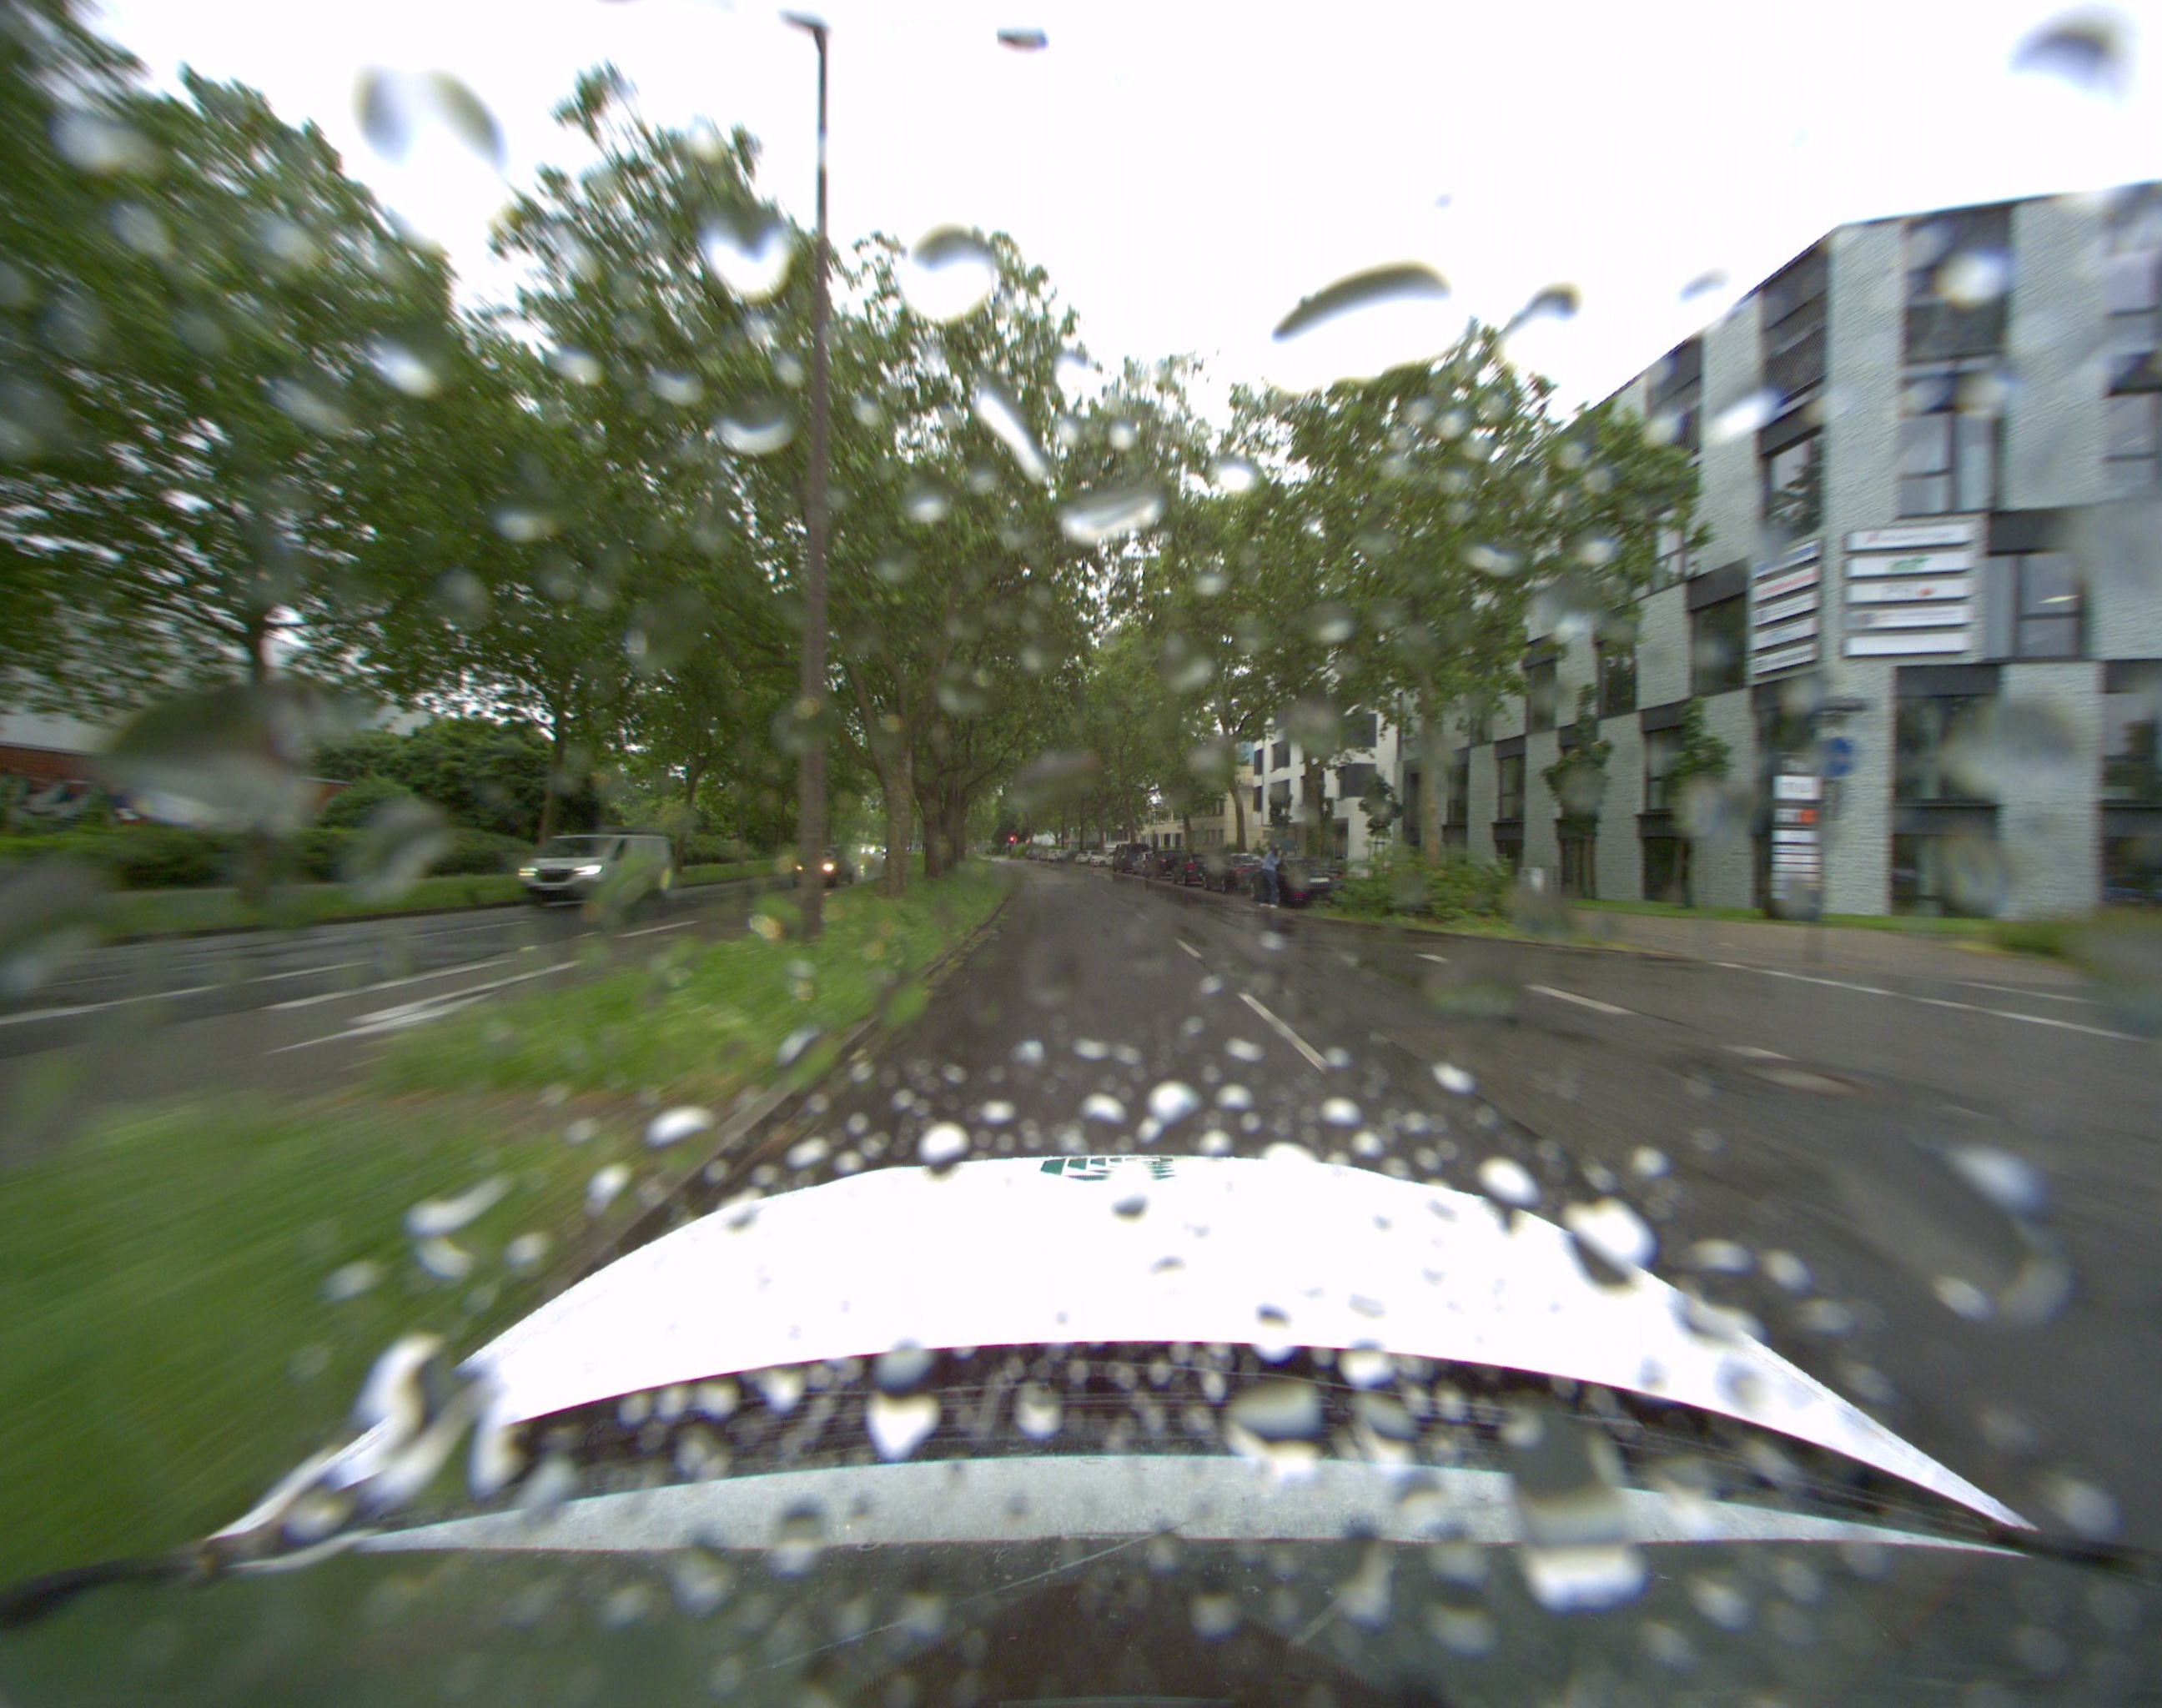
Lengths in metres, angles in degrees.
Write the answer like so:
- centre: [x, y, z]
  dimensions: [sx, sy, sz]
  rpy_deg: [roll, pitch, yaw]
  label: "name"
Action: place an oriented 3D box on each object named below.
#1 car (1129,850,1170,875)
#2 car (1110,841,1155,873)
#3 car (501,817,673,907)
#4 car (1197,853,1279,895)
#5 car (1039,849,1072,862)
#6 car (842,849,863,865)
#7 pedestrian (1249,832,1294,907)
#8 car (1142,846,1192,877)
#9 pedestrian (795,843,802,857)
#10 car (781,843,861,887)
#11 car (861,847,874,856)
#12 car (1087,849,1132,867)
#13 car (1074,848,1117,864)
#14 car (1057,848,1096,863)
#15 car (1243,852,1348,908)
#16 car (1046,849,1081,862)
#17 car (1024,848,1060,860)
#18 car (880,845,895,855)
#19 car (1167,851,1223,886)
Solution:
- centre: [4.195, 0.489, 50.371]
  dimensions: [1.741, 1.469, 4.297]
  rpy_deg: [1, 0, -6]
  label: "car"
- centre: [3.459, 0.172, 55.653]
  dimensions: [2.119, 2.028, 5.516]
  rpy_deg: [1, 0, -6]
  label: "car"
- centre: [-13.695, 0.196, 23.063]
  dimensions: [2.028, 2.226, 5.422]
  rpy_deg: [1, 0, -7]
  label: "car"
- centre: [5.767, 0.679, 30.507]
  dimensions: [1.740, 1.428, 5.096]
  rpy_deg: [1, 0, -4]
  label: "car"
- centre: [-3.084, 0.175, 97.366]
  dimensions: [3.712, 1.416, 1.754]
  rpy_deg: [0, 0, -42]
  label: "car"
- centre: [-23.028, 0.275, 82.309]
  dimensions: [1.744, 1.561, 4.351]
  rpy_deg: [1, 0, -12]
  label: "car"
- centre: [5.258, 0.425, 22.478]
  dimensions: [0.904, 2.013, 0.823]
  rpy_deg: [0, 0, -40]
  label: "pedestrian"
- centre: [4.532, 0.393, 43.560]
  dimensions: [1.741, 1.566, 4.362]
  rpy_deg: [1, 0, -6]
  label: "car"
- centre: [-36.329, -0.512, 104.770]
  dimensions: [0.832, 1.674, 0.894]
  rpy_deg: [0, 0, -17]
  label: "pedestrian"
- centre: [-10.921, 0.418, 34.608]
  dimensions: [2.025, 1.736, 4.949]
  rpy_deg: [1, 0, -3]
  label: "car"
- centre: [-36.445, -0.432, 139.047]
  dimensions: [1.748, 1.476, 4.382]
  rpy_deg: [1, 0, -19]
  label: "car"
- centre: [2.558, 0.336, 73.623]
  dimensions: [3.653, 1.504, 1.735]
  rpy_deg: [0, 1, -26]
  label: "car"
- centre: [1.418, 0.205, 77.772]
  dimensions: [4.060, 1.428, 1.728]
  rpy_deg: [0, 0, -42]
  label: "car"
- centre: [-0.432, 0.137, 86.982]
  dimensions: [4.061, 1.539, 1.728]
  rpy_deg: [0, 0, -43]
  label: "car"
- centre: [6.154, 0.672, 23.970]
  dimensions: [1.738, 1.428, 4.858]
  rpy_deg: [-2, 0, -1]
  label: "car"
- centre: [-1.986, 0.196, 91.948]
  dimensions: [3.710, 1.416, 1.729]
  rpy_deg: [0, 0, -38]
  label: "car"
- centre: [-5.085, -0.001, 106.179]
  dimensions: [4.517, 1.459, 1.729]
  rpy_deg: [0, 0, -38]
  label: "car"
- centre: [-33.176, -0.713, 139.635]
  dimensions: [1.750, 1.650, 4.274]
  rpy_deg: [1, 0, -22]
  label: "car"
- centre: [5.046, 0.607, 36.578]
  dimensions: [1.739, 1.476, 4.078]
  rpy_deg: [1, 0, -3]
  label: "car"
